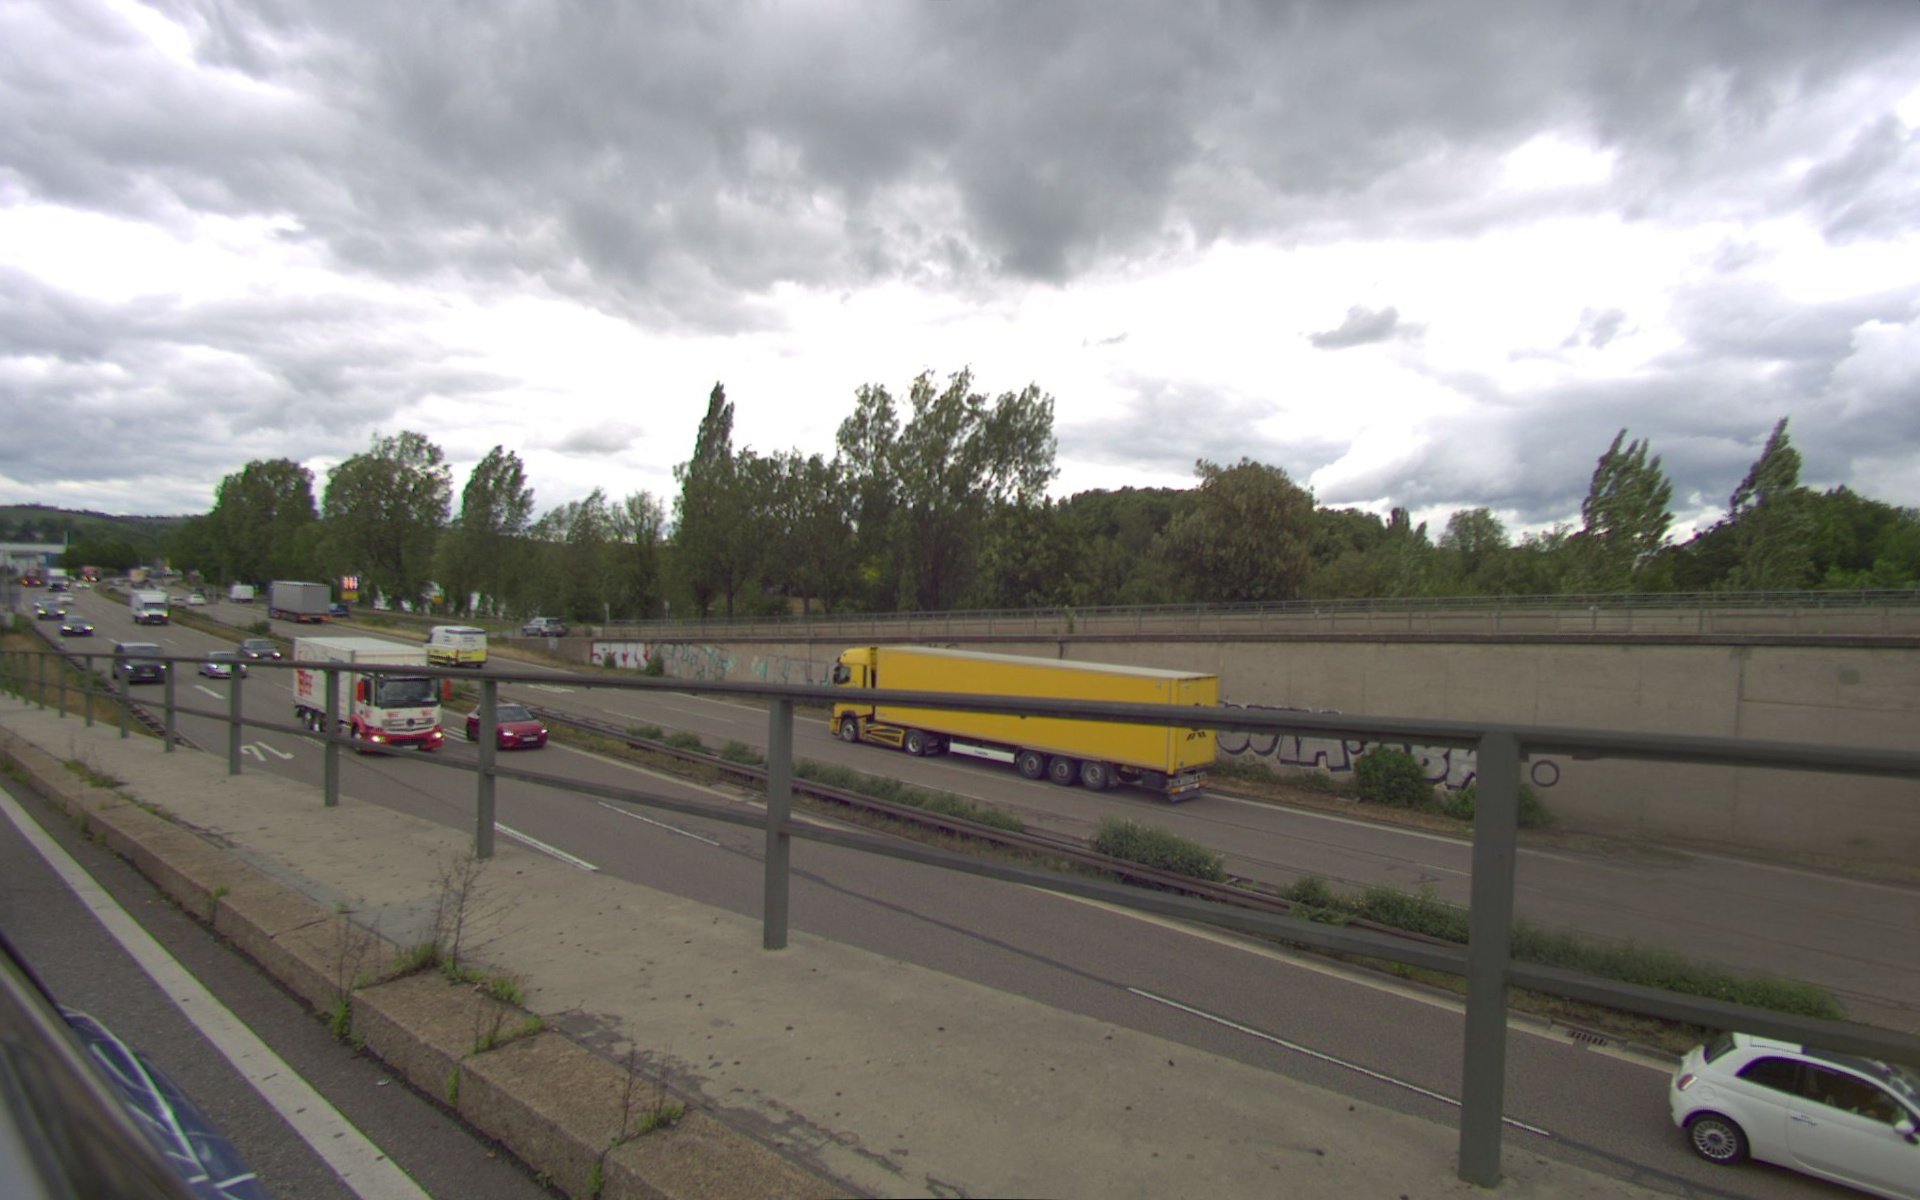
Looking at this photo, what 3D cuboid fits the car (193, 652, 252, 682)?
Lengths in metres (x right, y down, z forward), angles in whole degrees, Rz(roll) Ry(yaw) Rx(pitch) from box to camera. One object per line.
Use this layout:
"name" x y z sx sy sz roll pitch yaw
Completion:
"car" -40.263 3.613 55.237 4.153 1.311 1.766 2 0 43

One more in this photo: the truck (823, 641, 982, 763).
"truck" -2.388 3.938 40.892 5.804 4.213 3.205 2 0 43

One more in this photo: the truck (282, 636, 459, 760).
"truck" -22.036 3.369 37.479 9.873 3.552 2.850 2 -1 43

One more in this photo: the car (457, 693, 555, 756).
"car" -16.792 4.520 37.341 4.183 1.590 1.810 4 3 43

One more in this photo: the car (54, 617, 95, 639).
"car" -68.057 2.144 77.782 4.126 1.461 1.804 2 0 41

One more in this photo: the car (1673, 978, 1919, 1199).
"car" 10.367 5.751 11.404 3.608 1.544 1.674 2 1 43

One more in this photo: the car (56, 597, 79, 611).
"car" -111.796 0.481 126.776 3.335 1.539 1.746 2 0 41

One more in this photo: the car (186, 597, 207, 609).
"car" -104.267 0.372 138.225 4.002 1.431 1.660 3 0 44

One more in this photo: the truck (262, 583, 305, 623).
"truck" -74.886 0.328 111.981 5.939 4.170 2.755 3 1 45

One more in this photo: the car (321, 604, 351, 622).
"car" -75.558 1.586 122.484 1.970 1.914 4.587 6 -3 -44

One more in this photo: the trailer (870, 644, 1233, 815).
"trailer" 2.653 4.134 36.176 13.681 4.294 3.205 2 0 43

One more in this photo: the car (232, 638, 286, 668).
"car" -43.797 3.282 63.222 4.425 1.476 1.838 2 2 43

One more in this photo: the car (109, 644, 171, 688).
"car" -41.634 3.293 51.346 1.970 1.853 4.428 2 0 -45

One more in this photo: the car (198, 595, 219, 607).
"car" -125.621 0.134 169.087 4.562 1.831 1.861 2 -3 42

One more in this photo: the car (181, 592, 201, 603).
"car" -139.246 -0.499 183.222 4.562 1.831 1.861 2 -3 42

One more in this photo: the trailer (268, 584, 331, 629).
"trailer" -70.108 0.579 107.245 13.772 4.170 2.755 3 1 45

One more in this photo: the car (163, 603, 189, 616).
"car" -97.629 1.200 125.963 4.002 1.431 1.971 2 -3 45

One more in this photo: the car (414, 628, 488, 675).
"car" -33.133 3.307 65.806 6.715 2.648 1.972 2 -1 43

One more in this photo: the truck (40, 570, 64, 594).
"truck" -162.933 -3.285 181.610 2.968 4.140 5.880 3 0 -44

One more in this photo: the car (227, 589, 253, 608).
"car" -110.666 -0.284 155.488 5.180 2.669 1.972 2 -3 42

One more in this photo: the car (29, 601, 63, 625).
"car" -85.824 1.189 95.004 4.001 2.029 1.971 2 -1 43

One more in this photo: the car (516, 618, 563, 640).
"car" -33.463 2.292 80.486 4.378 1.664 1.872 -1 0 44

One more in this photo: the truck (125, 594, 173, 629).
"truck" -75.567 1.044 94.256 7.229 3.031 2.210 2 1 41
